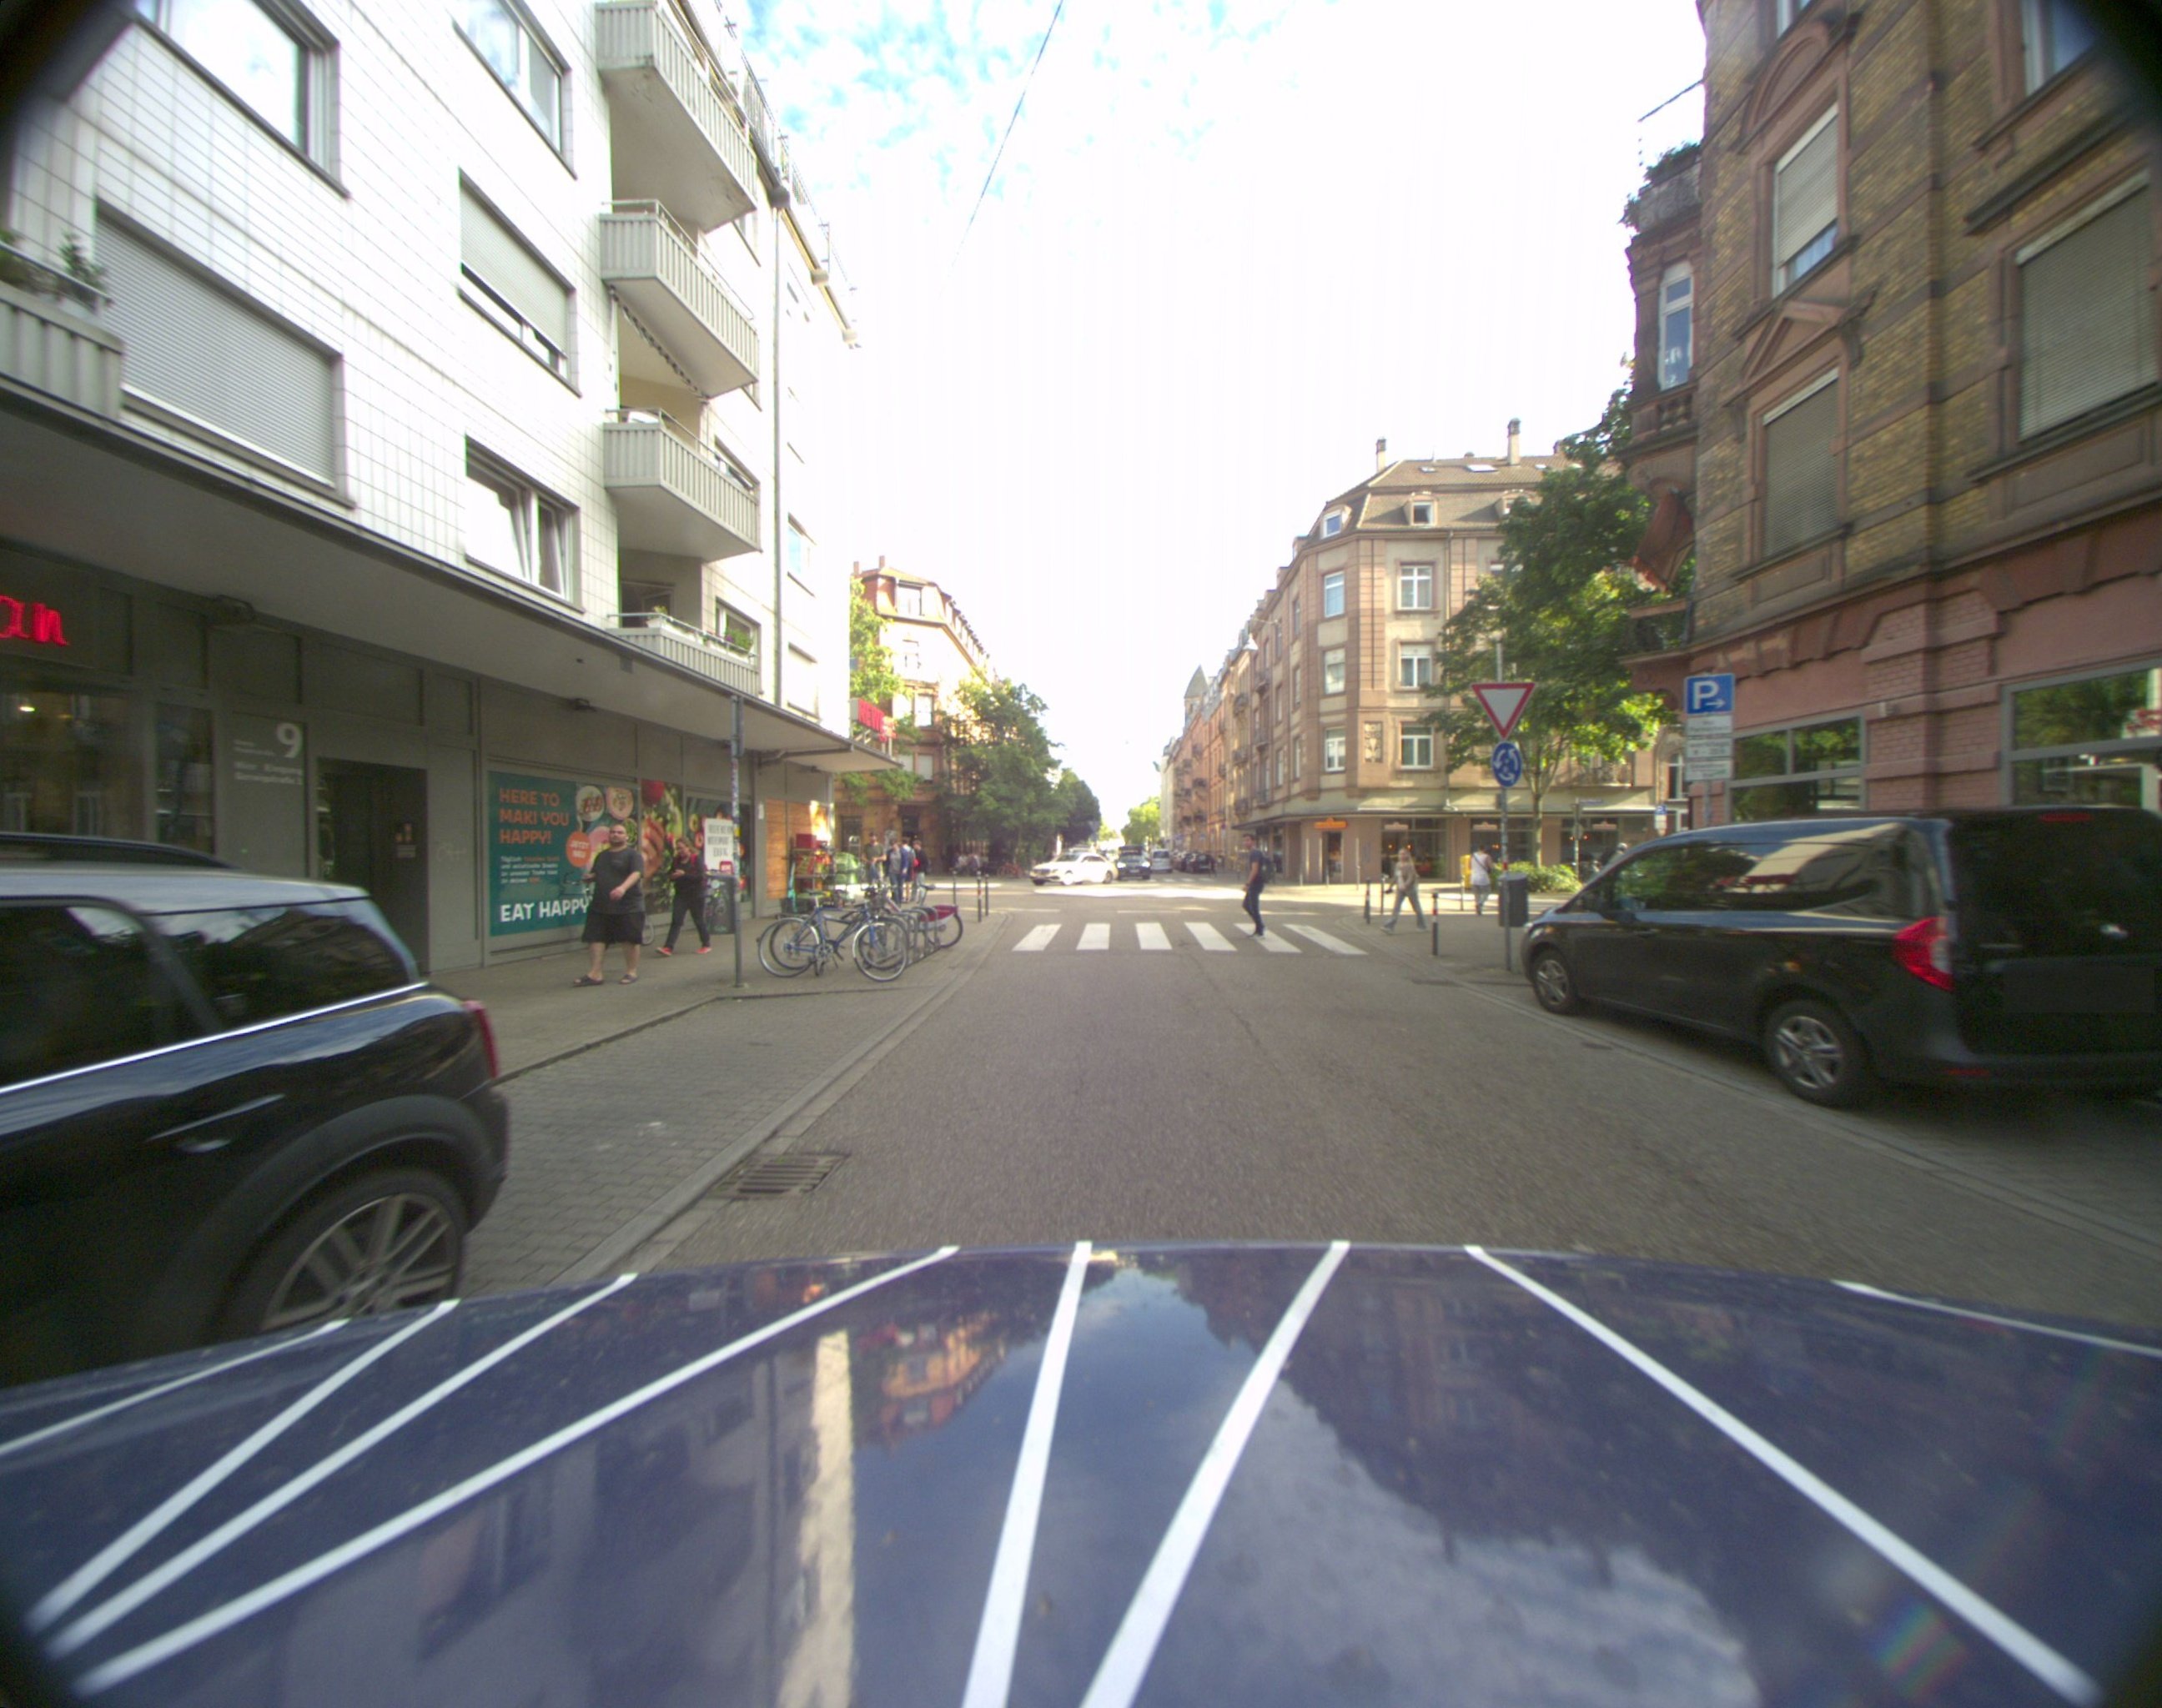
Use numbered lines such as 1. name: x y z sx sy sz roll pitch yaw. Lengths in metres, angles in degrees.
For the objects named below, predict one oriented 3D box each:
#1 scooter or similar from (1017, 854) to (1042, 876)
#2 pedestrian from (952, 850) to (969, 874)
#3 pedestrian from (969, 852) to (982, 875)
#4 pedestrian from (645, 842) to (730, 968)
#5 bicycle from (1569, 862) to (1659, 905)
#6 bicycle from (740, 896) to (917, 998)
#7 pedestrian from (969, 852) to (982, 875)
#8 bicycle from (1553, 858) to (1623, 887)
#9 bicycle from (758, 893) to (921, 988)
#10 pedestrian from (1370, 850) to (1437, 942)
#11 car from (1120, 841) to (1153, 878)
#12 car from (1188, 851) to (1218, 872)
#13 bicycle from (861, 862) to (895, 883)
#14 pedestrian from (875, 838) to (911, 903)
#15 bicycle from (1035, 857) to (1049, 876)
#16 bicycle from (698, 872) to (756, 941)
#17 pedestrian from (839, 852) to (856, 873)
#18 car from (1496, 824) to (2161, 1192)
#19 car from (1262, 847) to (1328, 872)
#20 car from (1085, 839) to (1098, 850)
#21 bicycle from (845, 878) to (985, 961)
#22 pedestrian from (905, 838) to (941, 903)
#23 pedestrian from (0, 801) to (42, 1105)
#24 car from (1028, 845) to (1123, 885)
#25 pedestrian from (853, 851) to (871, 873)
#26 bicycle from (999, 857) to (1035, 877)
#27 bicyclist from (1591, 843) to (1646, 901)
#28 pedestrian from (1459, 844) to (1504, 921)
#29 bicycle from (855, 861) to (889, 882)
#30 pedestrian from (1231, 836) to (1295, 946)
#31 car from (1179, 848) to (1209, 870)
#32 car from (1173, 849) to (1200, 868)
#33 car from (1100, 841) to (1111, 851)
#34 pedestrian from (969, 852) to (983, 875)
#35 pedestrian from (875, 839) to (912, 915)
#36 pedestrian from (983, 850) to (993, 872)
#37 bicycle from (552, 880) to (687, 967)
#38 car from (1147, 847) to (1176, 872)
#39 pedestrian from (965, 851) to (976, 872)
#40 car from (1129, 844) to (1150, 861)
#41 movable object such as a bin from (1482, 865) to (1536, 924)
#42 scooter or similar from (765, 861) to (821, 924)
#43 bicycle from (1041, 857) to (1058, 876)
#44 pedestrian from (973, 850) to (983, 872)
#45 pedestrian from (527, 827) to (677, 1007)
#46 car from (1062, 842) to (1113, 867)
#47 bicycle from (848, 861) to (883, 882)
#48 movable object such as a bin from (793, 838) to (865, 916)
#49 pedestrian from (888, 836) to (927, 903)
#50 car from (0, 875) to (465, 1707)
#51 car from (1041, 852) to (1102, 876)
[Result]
1. scooter or similar: -2.880 0.624 42.838 1.289 1.203 0.557 -1 -2 27
2. pedestrian: -7.043 0.469 44.384 0.715 1.371 0.671 1 2 37
3. pedestrian: -6.225 0.541 44.853 0.729 1.307 0.607 -2 1 -9
4. pedestrian: -5.315 0.662 10.299 0.724 1.623 0.712 2 1 1
5. bicycle: 15.766 0.861 22.506 2.115 1.213 0.703 0 2 3
6. bicycle: -2.824 1.049 8.638 1.793 1.064 0.586 2 0 -7
7. pedestrian: -6.068 0.539 43.704 0.729 1.307 0.520 -2 1 -9
8. bicycle: 20.327 0.728 30.482 2.430 1.128 0.579 0 1 0
9. bicycle: -2.905 1.047 9.286 1.793 1.064 0.568 2 0 -7
10. pedestrian: 5.853 0.745 13.802 0.810 1.569 0.614 -4 0 -15
11. car: 3.208 0.281 43.434 1.792 2.051 4.001 0 1 6
12. car: 8.670 0.507 54.259 1.723 1.360 3.830 -1 0 3
13. bicycle: -10.276 0.909 38.522 0.447 0.964 1.716 2 3 41
14. pedestrian: -5.278 0.456 21.378 0.654 1.786 0.660 3 0 15
15. bicycle: -2.352 0.739 45.870 0.434 1.094 1.672 2 1 -17
16. bicycle: -6.212 0.887 13.410 0.679 1.037 1.731 0 2 -17
17. pedestrian: -14.208 0.520 46.239 0.628 1.278 0.770 0 3 26
18. car: 5.292 0.743 5.895 1.764 1.763 4.406 -2 0 1
19. car: 14.998 0.362 53.425 3.999 1.611 1.999 -1 0 -6
20. car: 1.619 -1.526 122.658 1.850 1.724 3.999 -1 0 -3
21. bicycle: -2.504 0.982 11.648 1.887 1.119 0.907 2 1 1
22. pedestrian: -4.443 0.463 21.343 0.716 1.786 0.630 3 0 -32
23. pedestrian: -6.515 0.555 4.079 0.715 1.737 0.817 2 1 1
24. car: -0.157 0.456 34.690 1.939 1.588 4.845 -1 1 33
25. pedestrian: -13.255 0.497 45.952 0.628 1.278 0.770 0 3 26
26. bicycle: -3.427 0.711 40.983 1.855 1.029 0.684 0 1 2
27. bicyclist: 15.898 0.528 22.489 1.111 1.668 0.703 0 2 3
28. pedestrian: 9.063 0.610 17.192 0.802 1.661 1.024 1 2 33
29. bicycle: -10.658 0.883 38.769 0.447 0.981 1.716 2 3 41
30. pedestrian: 3.091 0.617 12.983 0.857 1.829 0.678 0 -1 -9
31. car: 8.778 0.395 59.240 1.861 1.575 4.399 -1 1 3
32. car: 8.930 0.373 64.493 1.761 1.488 4.133 -1 0 2
33. car: 5.103 -1.625 157.549 1.998 1.877 4.001 -1 0 5
34. pedestrian: -6.108 0.539 44.220 0.729 1.307 0.520 -2 1 -9
35. pedestrian: -4.446 0.535 18.073 0.765 1.743 0.929 0 1 -10
36. pedestrian: -5.818 0.422 47.325 0.467 1.320 0.620 0 2 -21
37. bicycle: -6.402 0.925 10.668 0.743 1.009 1.783 2 1 2
38. car: 6.086 0.413 57.967 1.833 1.780 4.332 -3 -1 2
39. pedestrian: -6.801 0.444 46.722 0.549 1.293 0.620 0 2 -21
40. car: 5.807 -0.141 75.577 1.998 1.625 4.845 0 0 4
41. movable object such as a bin: 5.337 0.496 9.490 0.384 0.710 0.476 -1 0 -1
42. scooter or similar: -5.859 0.766 15.527 0.633 1.206 1.256 2 0 0
43. bicycle: -1.899 0.728 46.069 0.476 1.094 1.671 2 1 -22
44. pedestrian: -6.443 0.437 47.669 0.467 1.320 0.620 0 2 -21
45. pedestrian: -4.994 0.617 7.998 0.851 1.737 1.049 2 1 1
46. car: 0.621 0.045 76.870 4.746 2.409 1.995 -2 0 -30
47. bicycle: -11.042 0.881 38.984 0.447 0.981 1.716 2 3 41
48. movable object such as a bin: -5.968 0.496 18.153 0.781 1.734 2.423 0 1 3
49. pedestrian: -4.728 0.420 20.744 0.712 1.786 0.634 3 0 36
50. car: -2.901 0.874 0.428 1.796 1.596 3.924 0 0 3
51. car: -0.590 0.650 48.988 3.592 1.372 1.510 2 0 -23
